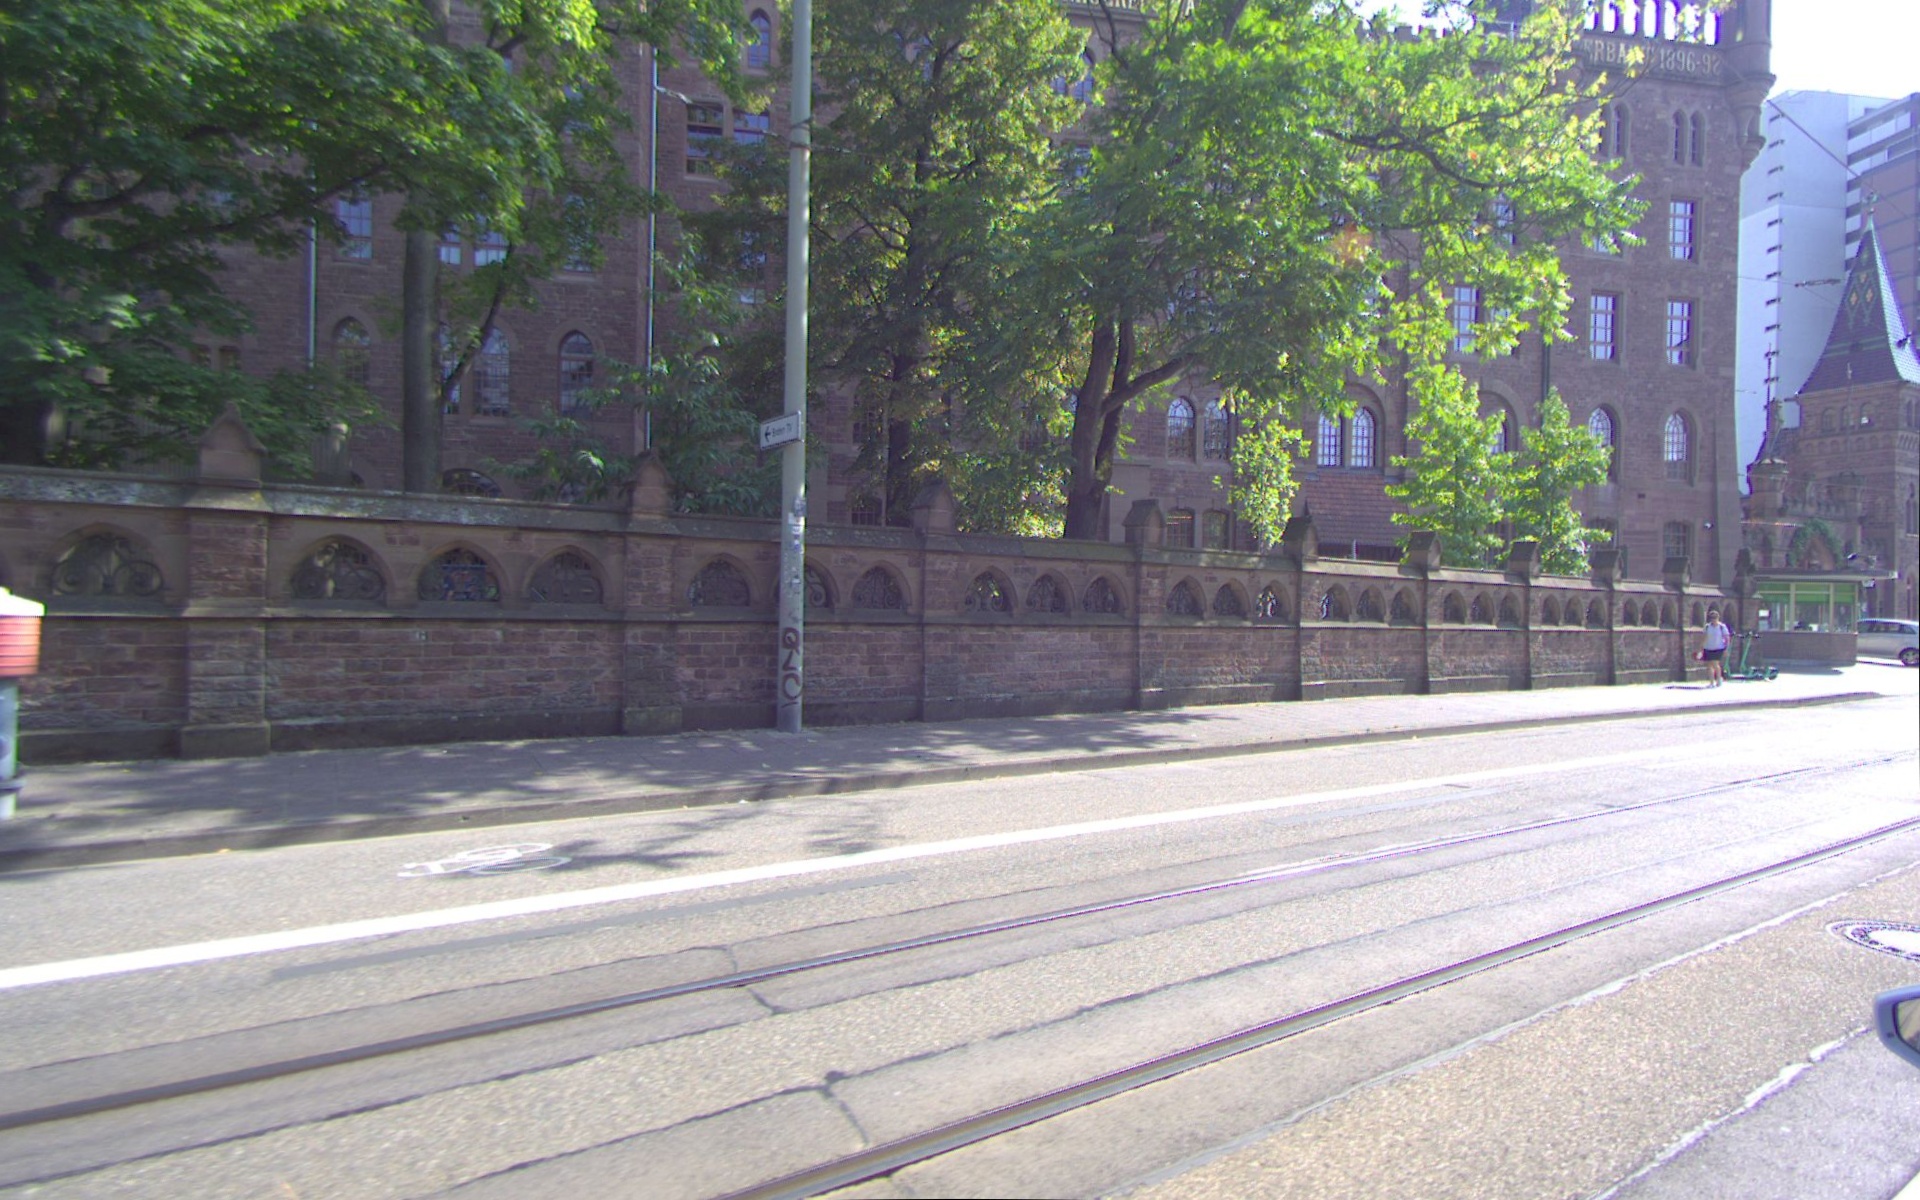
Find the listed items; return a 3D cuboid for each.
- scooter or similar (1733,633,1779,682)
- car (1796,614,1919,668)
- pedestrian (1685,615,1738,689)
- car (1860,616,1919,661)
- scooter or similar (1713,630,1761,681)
[{"bbox_3d":[19.891,1.433,25.105,0.801,1.163,0.284,4,1,21],"label":"scooter or similar"},{"bbox_3d":[34.463,1.523,37.998,1.801,1.617,3.879,1,3,-30],"label":"car"},{"bbox_3d":[16.827,1.161,22.497,0.767,1.610,0.711,2,0,-34],"label":"pedestrian"},{"bbox_3d":[39.608,1.648,40.647,1.937,1.668,4.366,1,3,-35],"label":"car"},{"bbox_3d":[18.884,1.340,24.417,0.801,1.163,0.284,4,1,21],"label":"scooter or similar"}]
